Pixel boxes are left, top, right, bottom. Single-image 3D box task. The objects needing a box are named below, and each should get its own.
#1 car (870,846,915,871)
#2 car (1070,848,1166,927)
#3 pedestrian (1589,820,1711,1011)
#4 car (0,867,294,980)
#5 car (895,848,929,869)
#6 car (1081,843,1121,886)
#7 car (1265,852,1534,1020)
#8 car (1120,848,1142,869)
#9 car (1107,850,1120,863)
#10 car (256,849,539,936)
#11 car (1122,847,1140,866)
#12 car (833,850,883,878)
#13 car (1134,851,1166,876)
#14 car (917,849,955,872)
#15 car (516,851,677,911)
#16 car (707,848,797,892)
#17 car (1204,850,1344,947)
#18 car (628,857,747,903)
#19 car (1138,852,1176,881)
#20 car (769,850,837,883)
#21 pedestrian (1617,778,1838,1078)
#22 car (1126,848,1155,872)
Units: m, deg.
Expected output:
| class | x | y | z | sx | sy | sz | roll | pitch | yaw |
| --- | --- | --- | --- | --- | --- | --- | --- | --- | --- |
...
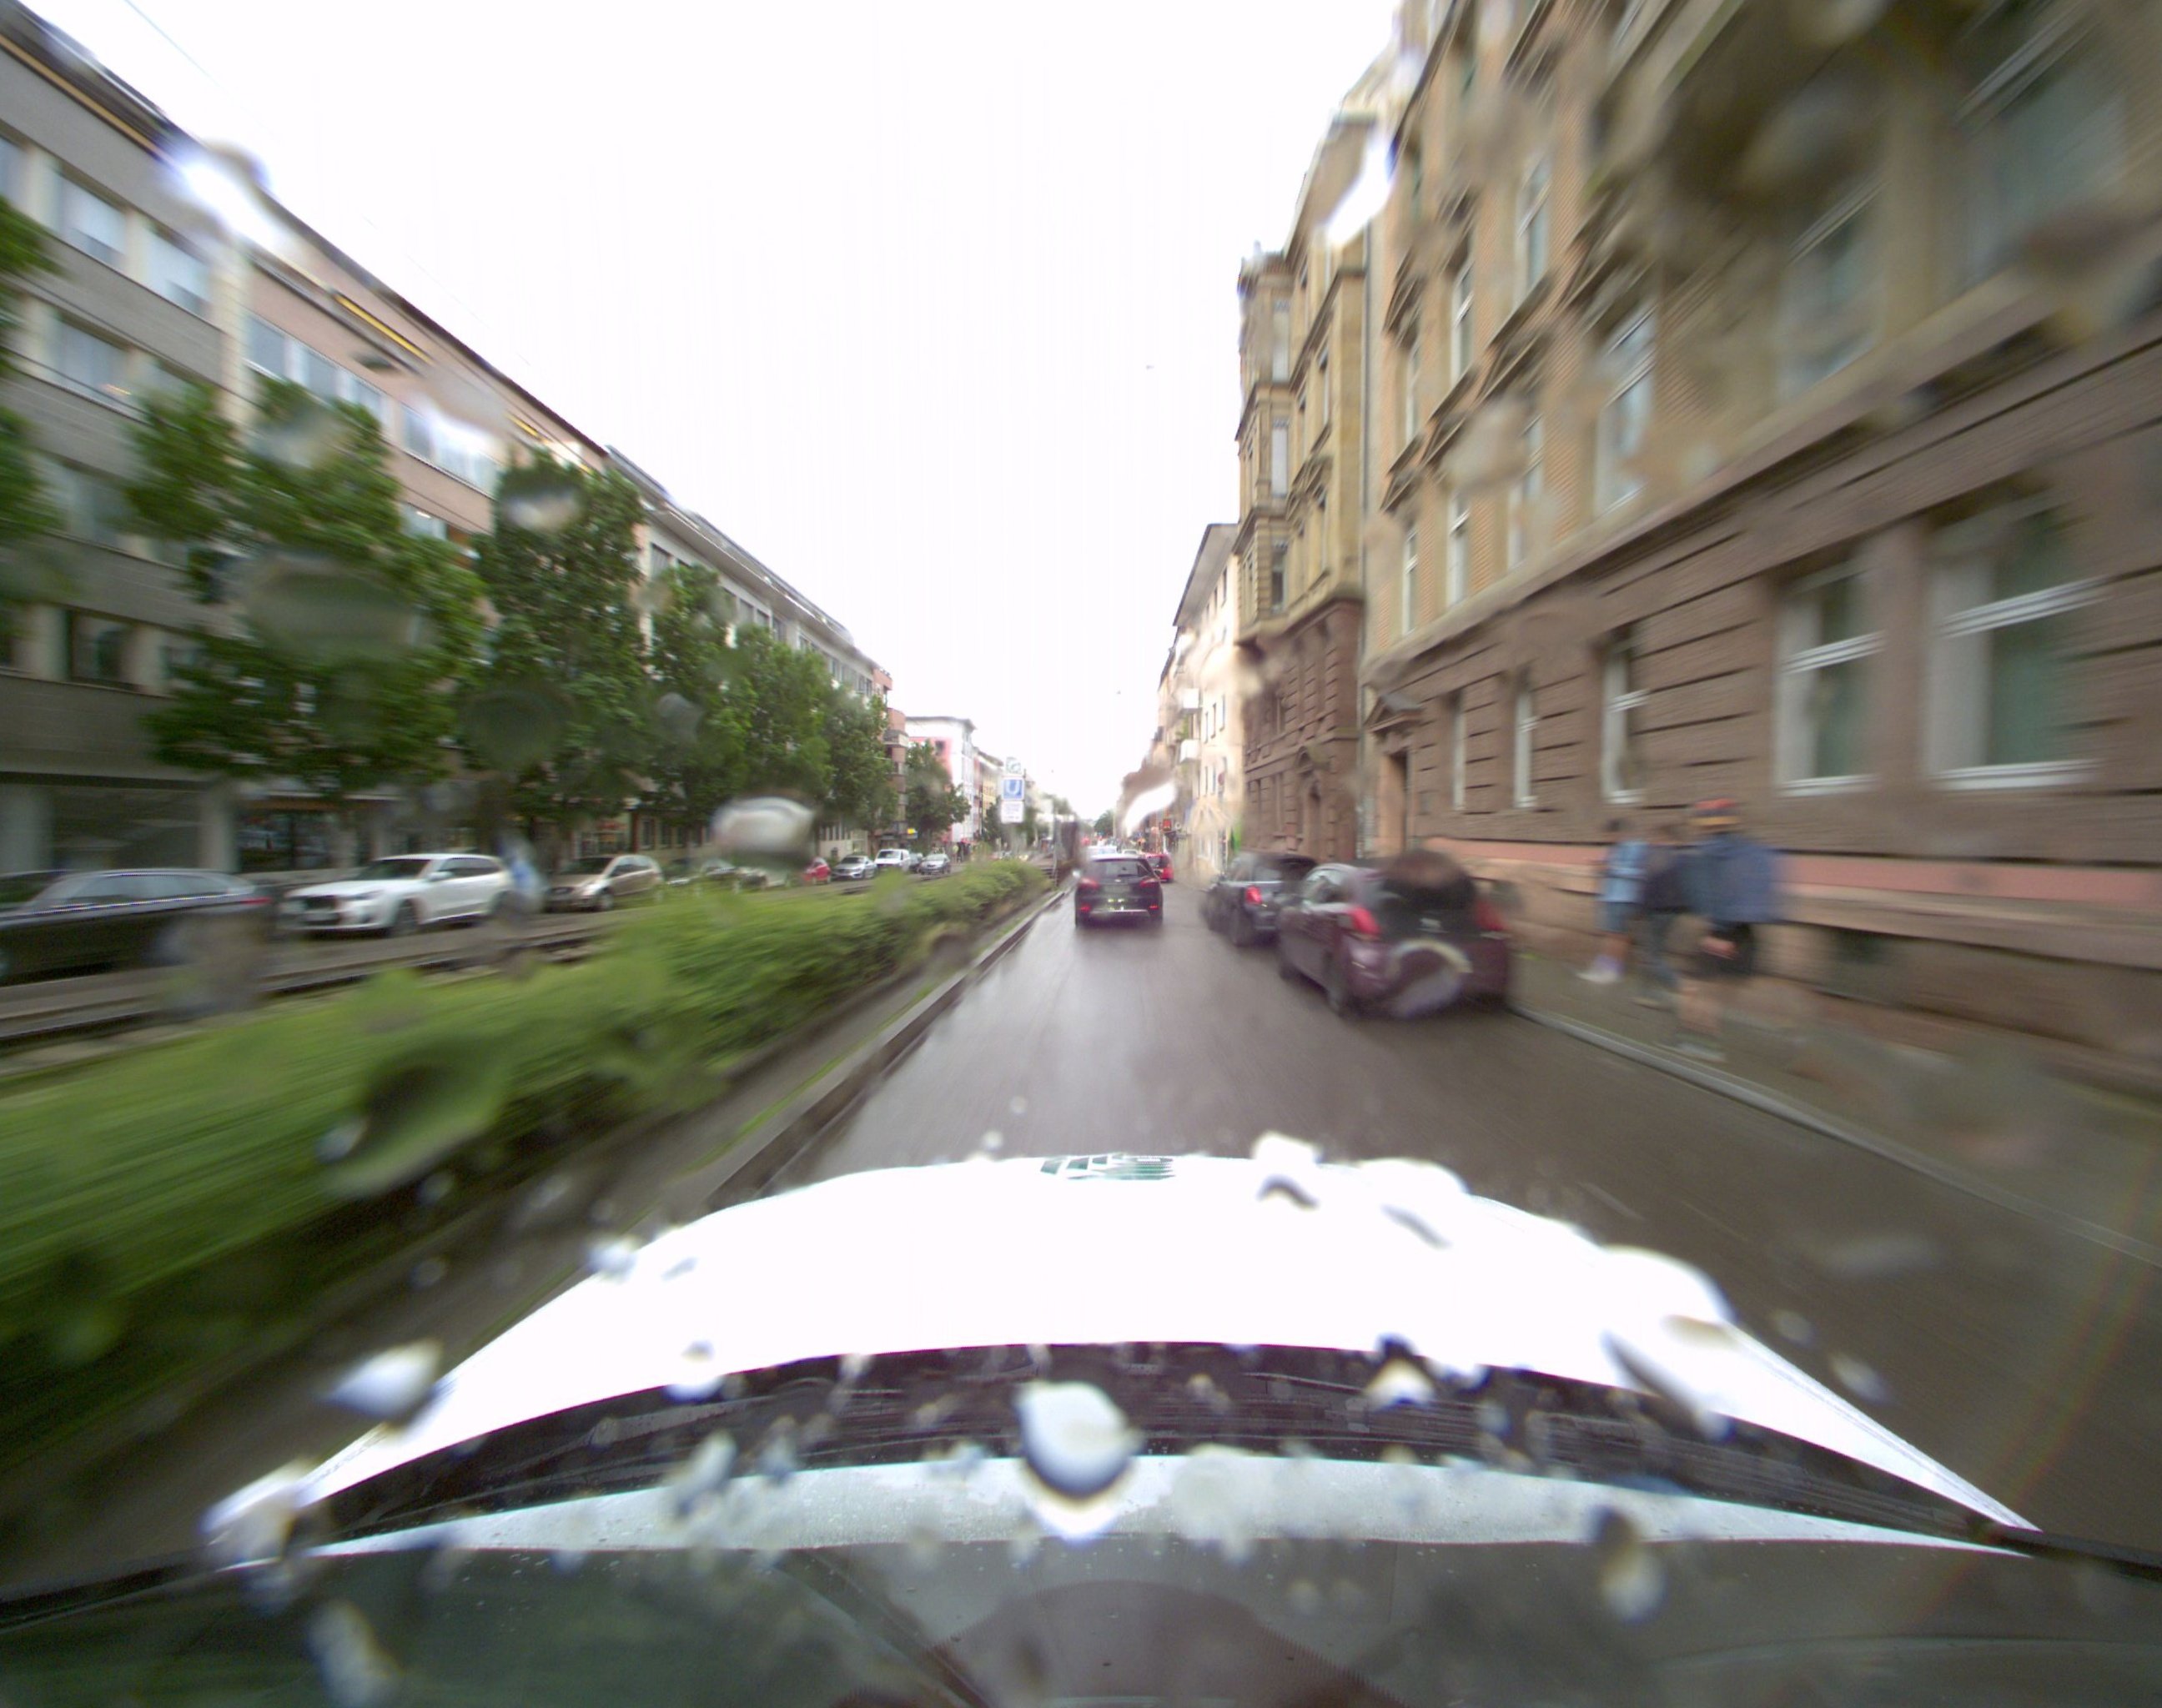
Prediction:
| class | x | y | z | sx | sy | sz | roll | pitch | yaw |
| --- | --- | --- | --- | --- | --- | --- | --- | --- | --- |
| car | -13.173 | 0.345 | 57.095 | 1.848 | 1.637 | 4.937 | 1 | -1 | 2 |
| car | 0.695 | 0.649 | 17.644 | 1.837 | 1.507 | 3.999 | -1 | 0 | -1 |
| pedestrian | 4.983 | 0.522 | 7.172 | 0.517 | 1.579 | 0.677 | -3 | -2 | 1 |
| car | -14.048 | 0.897 | 11.242 | 1.687 | 1.377 | 4.722 | -2 | -1 | 2 |
| car | -13.136 | 0.381 | 63.451 | 1.688 | 1.574 | 4.047 | 1 | -1 | 2 |
| car | 1.066 | 0.482 | 42.134 | 1.981 | 2.060 | 4.647 | 0 | 1 | 2 |
| car | 3.168 | 0.714 | 8.840 | 1.643 | 1.459 | 3.477 | 0 | 0 | 2 |
| car | 4.556 | 0.395 | 74.730 | 1.832 | 1.781 | 3.780 | 2 | -1 | 2 |
| car | 5.142 | 0.423 | 130.425 | 1.986 | 2.014 | 4.001 | 2 | -1 | 2 |
| car | -14.035 | 0.742 | 17.216 | 1.848 | 1.549 | 4.722 | 1 | -1 | 2 |
| car | 4.930 | 0.274 | 80.712 | 1.585 | 1.781 | 3.780 | 2 | -1 | 2 |
| car | -13.042 | 0.597 | 47.869 | 1.661 | 1.558 | 4.047 | 1 | -1 | 2 |
| car | 4.074 | 0.532 | 48.693 | 1.664 | 1.421 | 3.477 | 0 | 0 | 1 |
| car | -10.528 | 0.508 | 59.416 | 1.848 | 1.637 | 4.047 | 1 | -1 | 2 |
| car | -13.799 | 0.756 | 23.563 | 1.848 | 1.549 | 4.432 | 1 | -1 | 2 |
| car | -13.719 | 0.660 | 34.293 | 1.848 | 1.701 | 4.432 | 1 | -1 | 2 |
| car | 3.238 | 0.676 | 14.327 | 1.572 | 1.459 | 3.821 | 0 | 0 | 0 |
| car | -13.570 | 0.884 | 28.405 | 1.848 | 1.418 | 4.432 | -2 | -1 | 2 |
| car | 3.896 | 0.605 | 42.178 | 1.664 | 1.421 | 3.477 | 0 | 0 | 1 |
| car | -13.677 | 0.637 | 40.325 | 1.848 | 1.527 | 4.047 | 1 | -1 | 2 |
| pedestrian | 4.296 | 0.447 | 5.493 | 0.700 | 1.819 | 0.961 | -3 | 1 | 1 |
| car | 4.170 | 0.436 | 57.267 | 1.851 | 1.585 | 3.780 | 2 | -1 | 2 |
